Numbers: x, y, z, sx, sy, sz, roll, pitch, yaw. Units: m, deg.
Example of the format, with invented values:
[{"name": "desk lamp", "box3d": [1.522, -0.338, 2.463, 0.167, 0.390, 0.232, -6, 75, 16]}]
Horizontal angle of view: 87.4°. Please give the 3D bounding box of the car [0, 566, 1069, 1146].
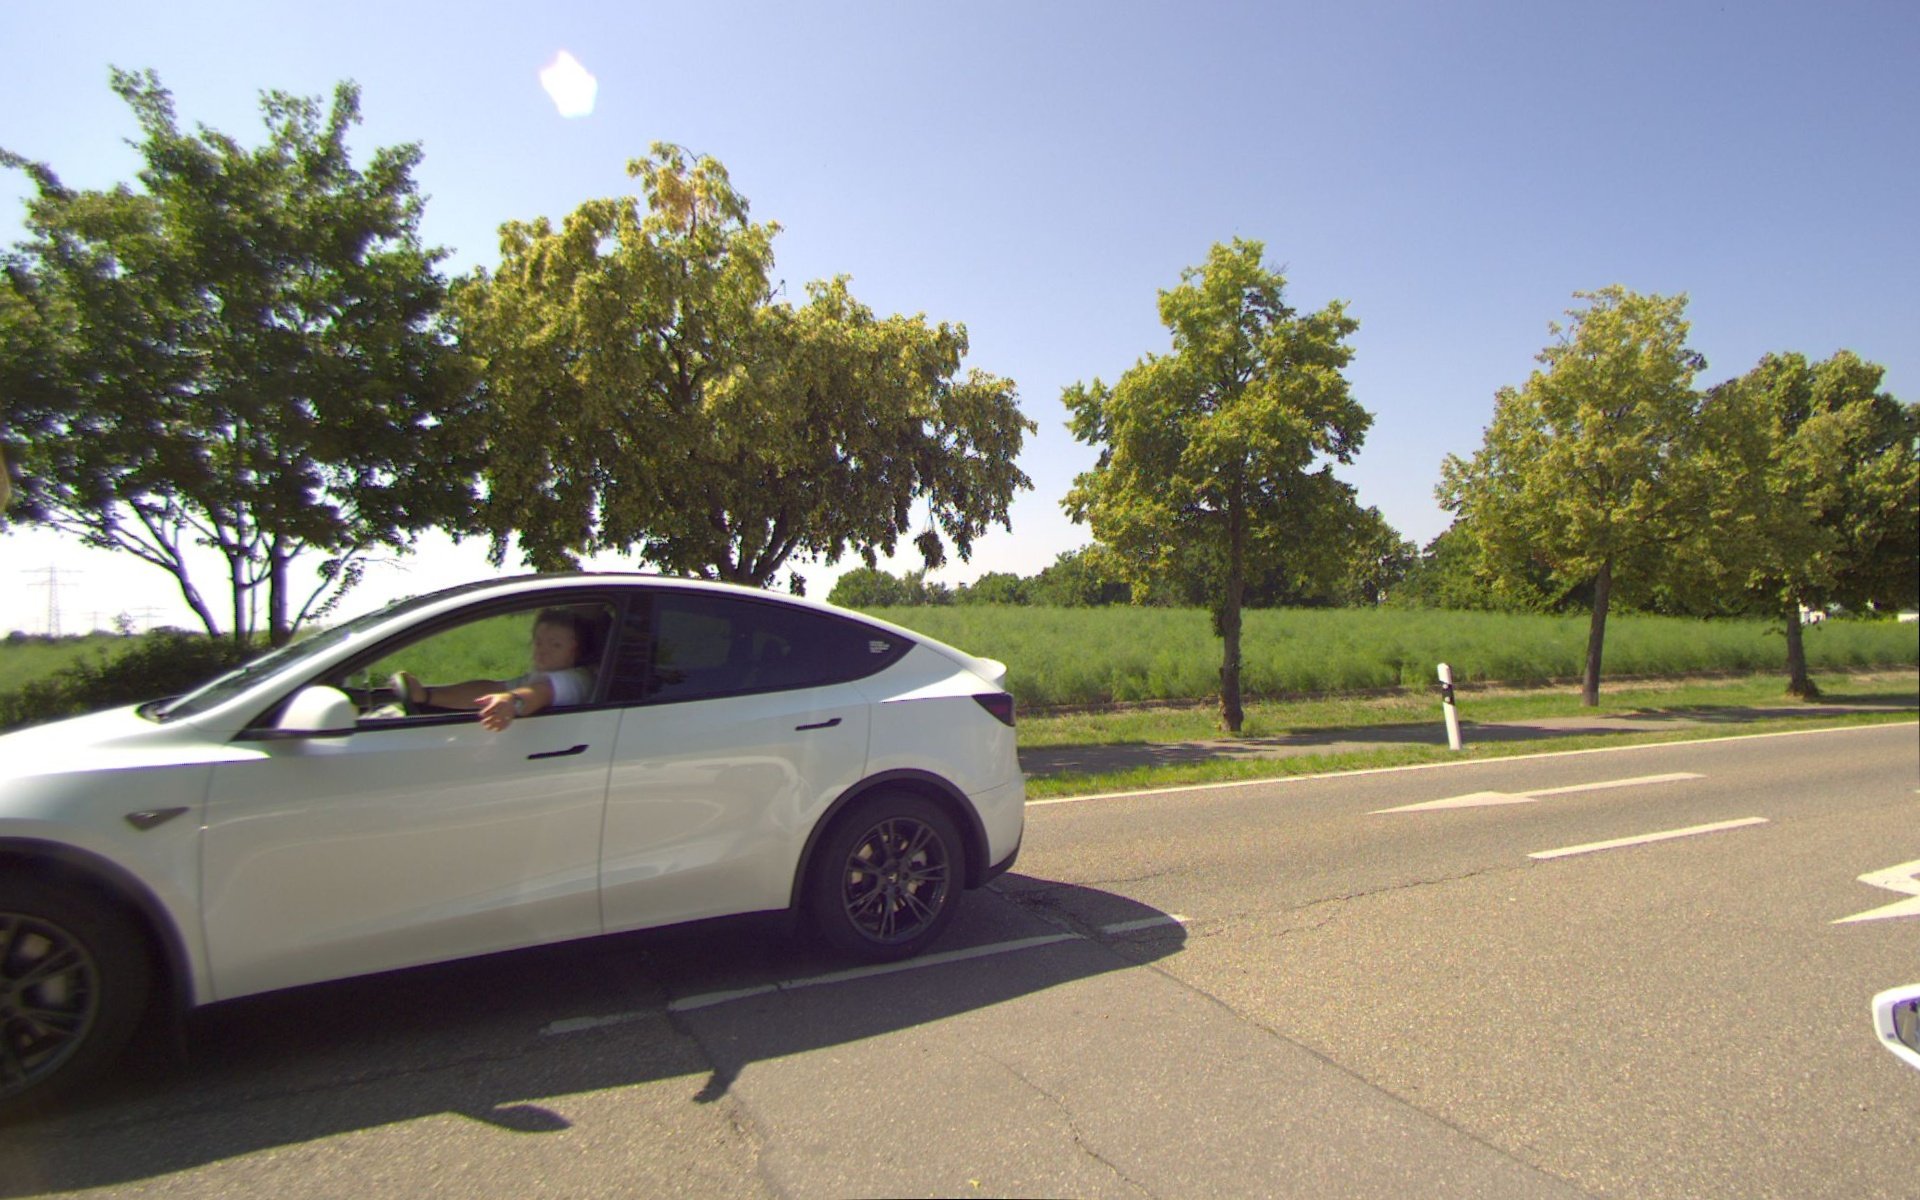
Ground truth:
[{"name": "car", "box3d": [-1.851, 0.731, 4.329, 4.420, 1.593, 1.867, 1, -1, -31]}]
